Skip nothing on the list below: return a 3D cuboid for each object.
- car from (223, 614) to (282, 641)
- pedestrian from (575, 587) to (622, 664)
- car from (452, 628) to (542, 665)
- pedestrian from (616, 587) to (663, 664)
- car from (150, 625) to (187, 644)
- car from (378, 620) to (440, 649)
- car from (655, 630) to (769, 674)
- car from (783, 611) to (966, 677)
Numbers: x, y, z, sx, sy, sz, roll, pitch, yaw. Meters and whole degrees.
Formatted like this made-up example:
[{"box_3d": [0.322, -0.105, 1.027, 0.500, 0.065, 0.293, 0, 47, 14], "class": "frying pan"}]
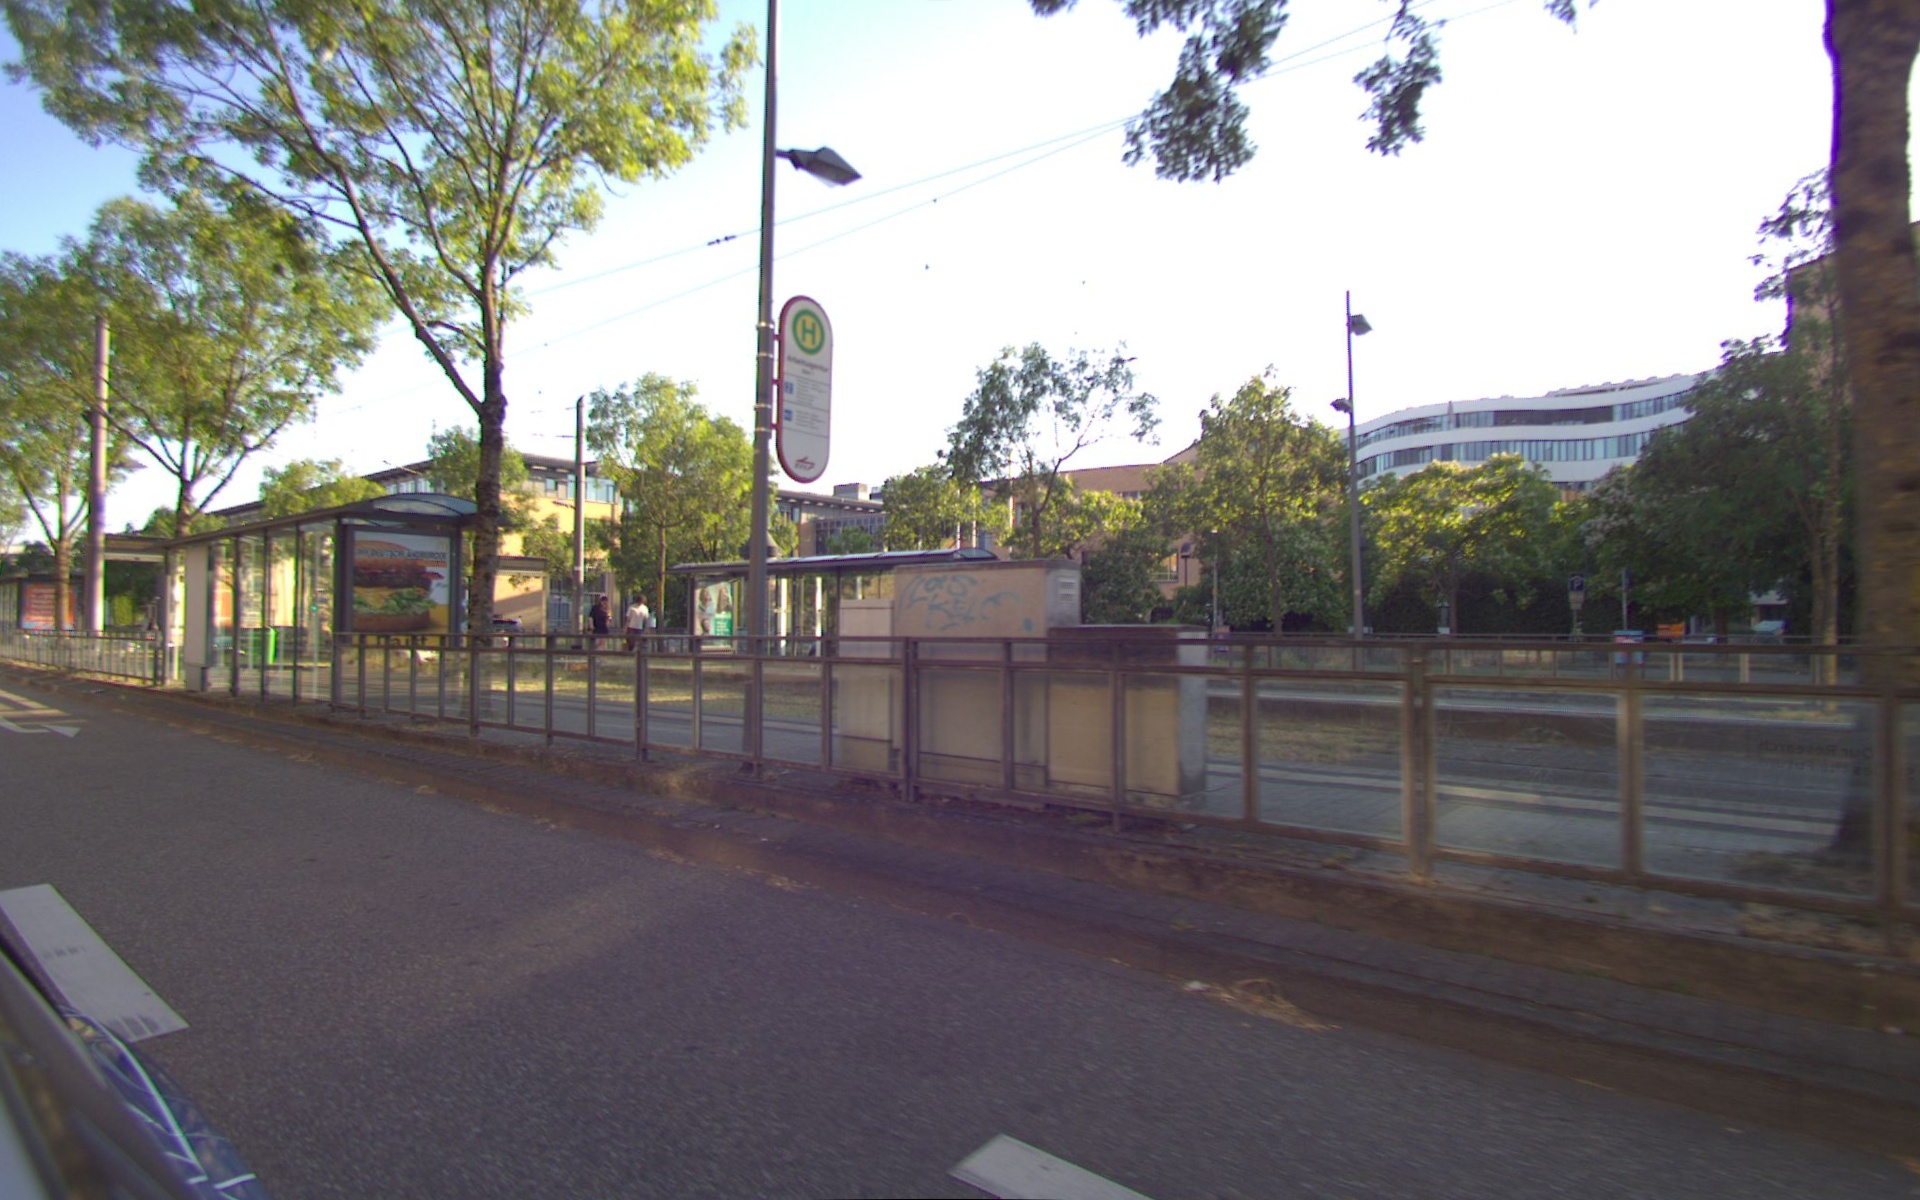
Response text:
[{"box_3d": [-41.468, 1.579, 59.297, 4.358, 1.519, 1.843, -1, -2, 41], "class": "car"}, {"box_3d": [-9.744, 0.693, 27.270, 1.127, 2.029, 0.761, -2, -2, 43], "class": "pedestrian"}, {"box_3d": [-19.580, 1.931, 42.720, 4.337, 1.426, 1.776, -1, 0, 40], "class": "car"}, {"box_3d": [-8.675, 0.681, 27.377, 1.127, 2.029, 0.761, -2, -2, 43], "class": "pedestrian"}, {"box_3d": [-57.944, 2.494, 74.071, 3.688, 1.307, 1.524, 0, 0, 41], "class": "car"}, {"box_3d": [-29.133, 1.806, 53.458, 3.747, 1.387, 1.595, -1, -5, 41], "class": "car"}, {"box_3d": [-8.865, 1.819, 36.012, 4.430, 1.424, 1.593, -1, -1, 39], "class": "car"}, {"box_3d": [-2.323, 1.104, 26.560, 4.892, 1.563, 1.972, -1, -2, 42], "class": "car"}]
